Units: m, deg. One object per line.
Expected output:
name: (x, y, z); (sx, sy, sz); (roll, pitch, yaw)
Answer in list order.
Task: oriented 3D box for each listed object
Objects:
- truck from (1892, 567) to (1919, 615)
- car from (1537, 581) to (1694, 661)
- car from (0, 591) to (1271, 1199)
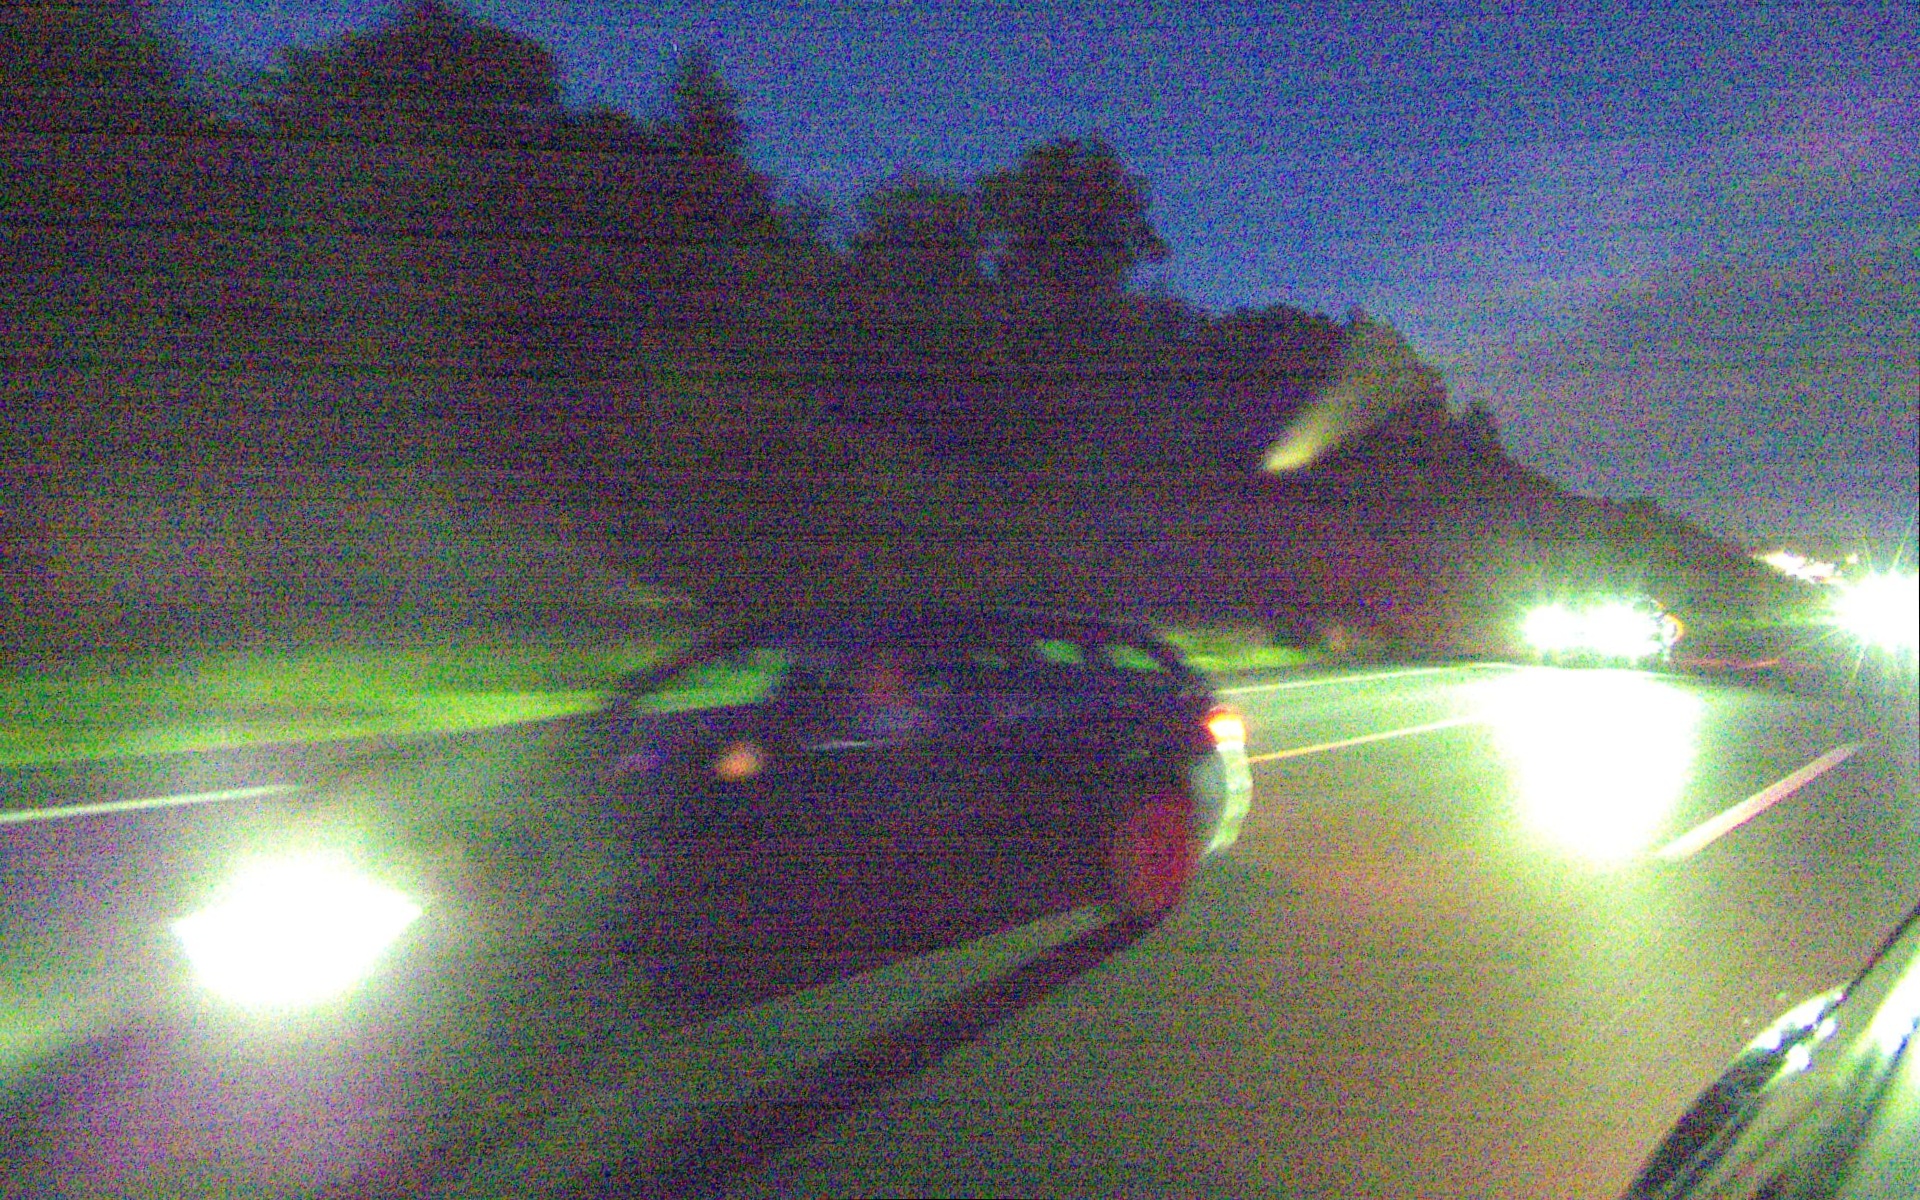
truck: (92.113, -0.868, 97.433); (3.338, 4.489, 6.883); (0, 0, 44)
car: (15.915, 0.444, 24.452); (5.080, 1.739, 1.996); (0, 0, -43)
car: (-0.873, 0.694, 3.963); (4.985, 1.419, 1.836); (0, 0, -44)
